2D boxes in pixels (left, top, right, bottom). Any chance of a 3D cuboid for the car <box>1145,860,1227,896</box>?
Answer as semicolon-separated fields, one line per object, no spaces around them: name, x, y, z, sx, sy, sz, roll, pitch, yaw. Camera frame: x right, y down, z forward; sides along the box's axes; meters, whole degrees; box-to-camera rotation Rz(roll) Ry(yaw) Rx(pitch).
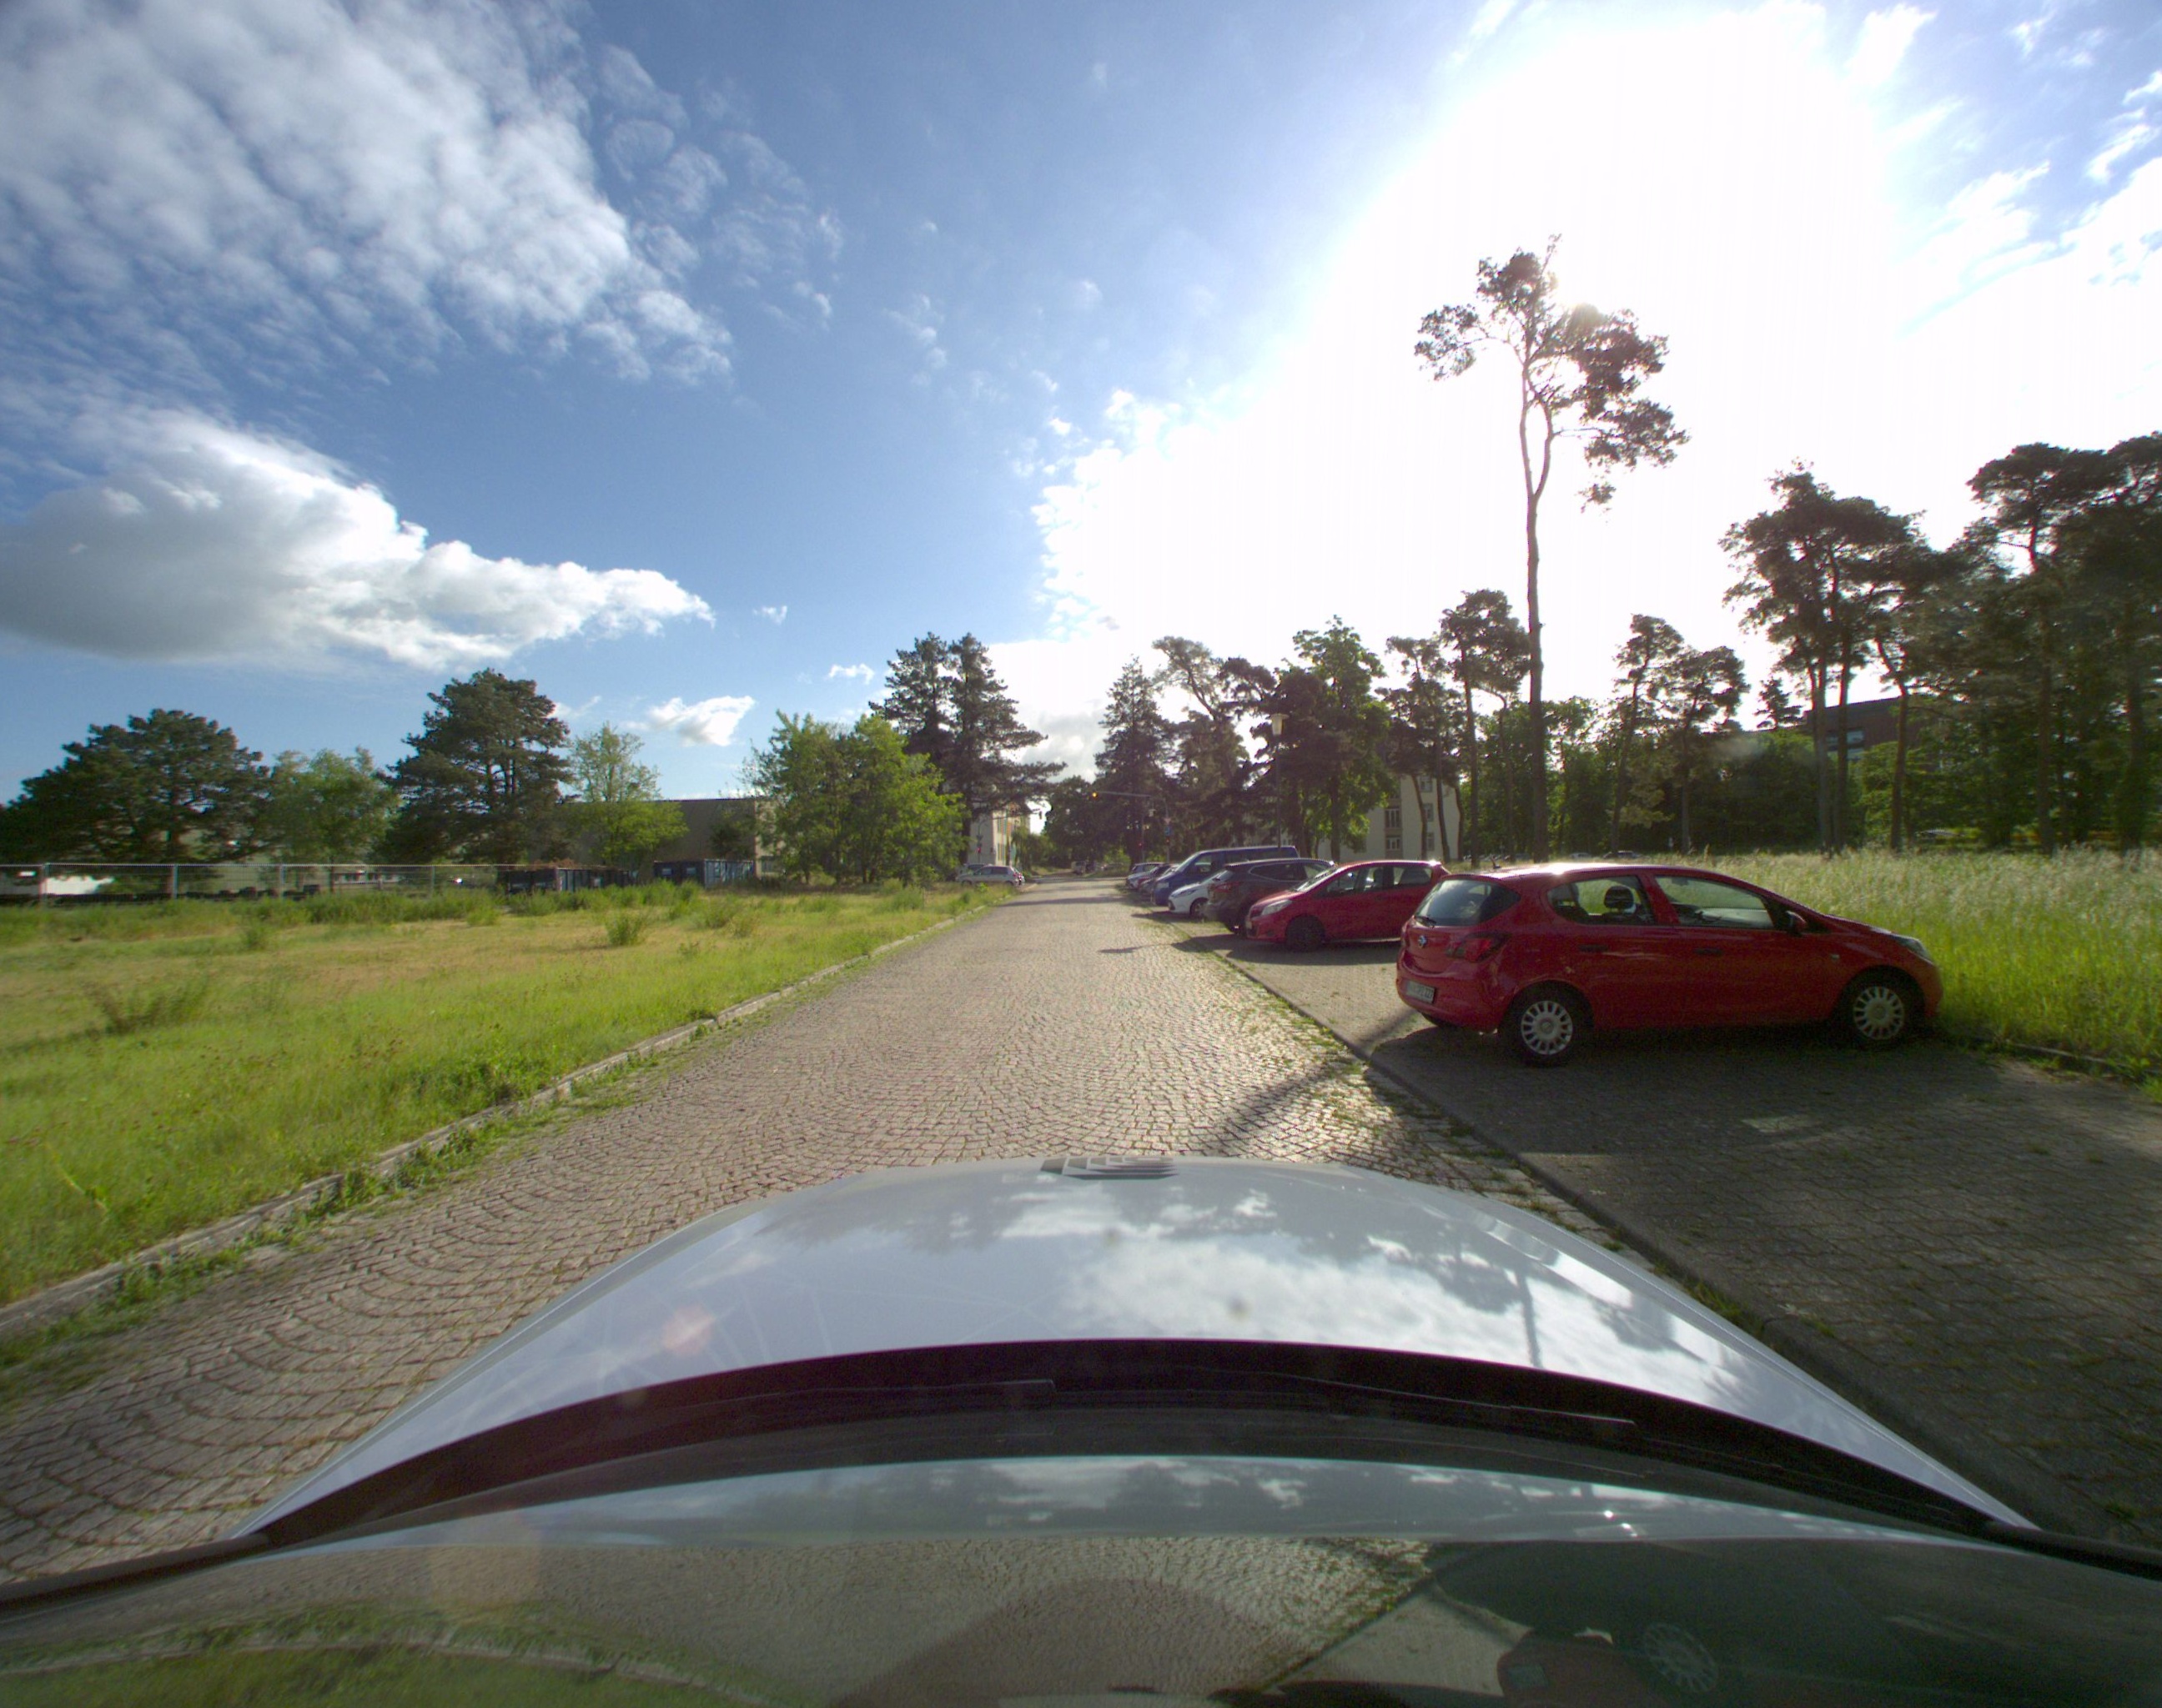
car;4.763;1.092;37.152;3.468;1.529;1.644;-1;-1;-2

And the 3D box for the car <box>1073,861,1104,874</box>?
car;1.073;1.942;116.201;4.467;1.728;1.999;-1;-1;-1

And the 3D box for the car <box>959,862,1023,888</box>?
car;-5.954;1.386;54.289;3.975;1.601;1.999;2;-1;-1

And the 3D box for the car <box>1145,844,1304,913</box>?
car;4.512;0.755;26.172;4.667;2.014;2.081;-1;-1;-4

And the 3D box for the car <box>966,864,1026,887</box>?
car;-5.881;1.513;56.689;3.975;1.453;1.999;2;-1;-1

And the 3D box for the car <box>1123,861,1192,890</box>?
car;4.387;1.235;47.148;3.825;1.529;1.644;-1;-1;-2

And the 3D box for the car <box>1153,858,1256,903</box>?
car;4.712;1.009;31.347;3.682;1.466;1.645;-3;-1;0

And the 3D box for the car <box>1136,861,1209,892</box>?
car;4.724;1.149;42.303;3.593;1.529;1.644;-1;-1;-2

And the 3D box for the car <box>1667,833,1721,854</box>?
car;62.476;-1.050;82.981;3.974;2.014;1.999;-1;-1;-1

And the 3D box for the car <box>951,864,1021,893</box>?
car;-5.670;1.461;48.902;3.978;1.600;1.998;-1;-1;-3

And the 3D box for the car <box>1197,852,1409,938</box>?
car;4.555;0.821;17.075;3.925;1.621;1.771;-1;-1;-2

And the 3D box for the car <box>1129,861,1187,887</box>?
car;4.688;1.235;49.791;3.334;1.483;1.644;-1;-1;-2

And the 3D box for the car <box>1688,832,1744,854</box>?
car;62.776;-1.065;80.502;3.974;2.014;1.999;-1;-1;-1

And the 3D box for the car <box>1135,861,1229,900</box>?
car;4.198;1.103;34.227;3.665;1.467;1.644;-2;-1;-2

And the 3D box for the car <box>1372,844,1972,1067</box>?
car;4.649;0.744;6.809;3.816;1.479;1.645;-2;-1;-1

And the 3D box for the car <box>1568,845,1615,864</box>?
car;58.080;0.047;92.703;3.974;2.014;1.999;-1;-1;-1

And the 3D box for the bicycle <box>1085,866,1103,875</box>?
bicycle;1.580;2.016;98.735;2.173;1.100;0.804;-1;-1;-10

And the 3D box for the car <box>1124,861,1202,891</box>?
car;4.438;1.180;44.378;4.026;1.529;1.643;-1;-1;-4

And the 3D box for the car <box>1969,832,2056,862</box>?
car;67.391;-0.513;58.972;3.974;2.014;1.999;-1;-1;-1

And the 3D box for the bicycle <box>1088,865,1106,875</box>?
bicycle;1.956;1.948;99.981;2.173;1.100;0.804;-1;-1;-10

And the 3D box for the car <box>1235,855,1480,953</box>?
car;4.776;0.837;14.401;3.752;1.530;1.644;-1;-1;-2

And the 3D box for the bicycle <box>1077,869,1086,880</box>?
bicycle;0.091;2.376;95.253;0.803;1.169;2.175;-3;-1;-6

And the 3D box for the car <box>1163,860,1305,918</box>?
car;4.351;0.980;23.488;3.710;1.488;1.644;-2;-1;-3

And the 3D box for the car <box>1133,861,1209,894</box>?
car;4.383;1.129;39.839;3.468;1.529;1.644;-1;-1;-2
